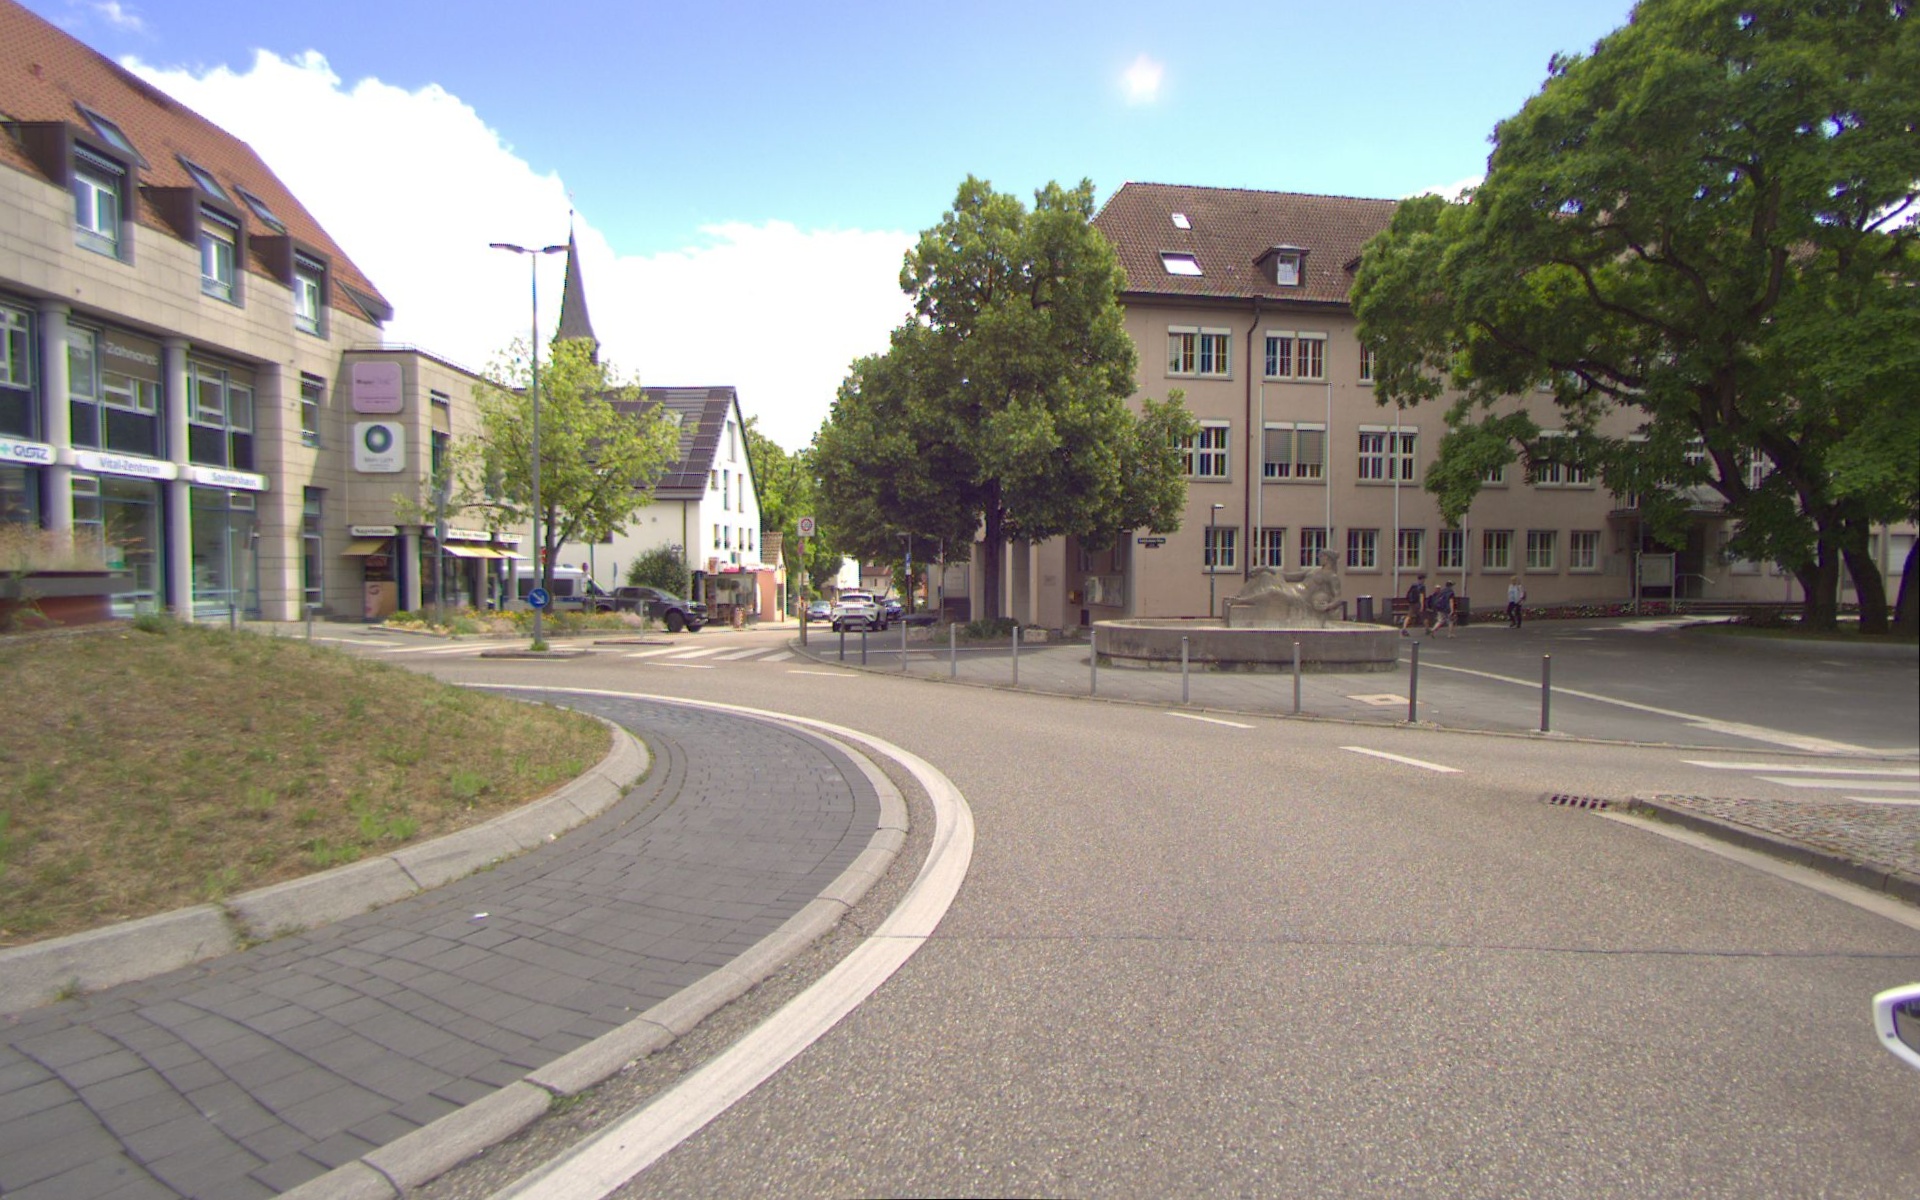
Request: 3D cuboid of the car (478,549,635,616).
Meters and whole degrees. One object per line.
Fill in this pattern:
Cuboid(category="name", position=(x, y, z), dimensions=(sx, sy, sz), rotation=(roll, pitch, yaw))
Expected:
Cuboid(category="car", position=(-18.096, -0.702, 45.163), dimensions=(6.234, 2.593, 2.188), rotation=(3, -3, -31))

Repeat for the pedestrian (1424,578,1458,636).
Cuboid(category="pedestrian", position=(13.227, 0.189, 27.640), dimensions=(0.625, 1.544, 0.577), rotation=(2, 5, 9))

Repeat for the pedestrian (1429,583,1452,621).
Cuboid(category="pedestrian", position=(15.789, 0.074, 33.007), dimensions=(0.481, 1.238, 0.578), rotation=(3, 1, 41))

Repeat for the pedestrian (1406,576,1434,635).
Cuboid(category="pedestrian", position=(13.014, 0.156, 28.427), dimensions=(0.562, 1.631, 0.438), rotation=(2, 5, 9))

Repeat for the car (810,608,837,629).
Cuboid(category="car", position=(-9.196, 1.237, 67.856), dimensions=(1.700, 1.283, 3.996), rotation=(1, 1, -6))

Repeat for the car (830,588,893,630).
Cuboid(category="car", position=(-3.870, 0.324, 40.190), dimensions=(1.944, 1.551, 4.001), rotation=(2, 1, 2))

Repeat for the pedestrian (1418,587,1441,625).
Cuboid(category="pedestrian", position=(15.216, 0.201, 32.527), dimensions=(0.481, 1.198, 0.578), rotation=(3, 1, 41))

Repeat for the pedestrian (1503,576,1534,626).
Cuboid(category="pedestrian", position=(17.357, 0.018, 31.197), dimensions=(0.689, 1.512, 0.812), rotation=(3, 1, 36))

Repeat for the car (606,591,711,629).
Cuboid(category="car", position=(-12.735, 0.416, 42.472), dimensions=(3.919, 1.439, 1.691), rotation=(2, 1, 12))
